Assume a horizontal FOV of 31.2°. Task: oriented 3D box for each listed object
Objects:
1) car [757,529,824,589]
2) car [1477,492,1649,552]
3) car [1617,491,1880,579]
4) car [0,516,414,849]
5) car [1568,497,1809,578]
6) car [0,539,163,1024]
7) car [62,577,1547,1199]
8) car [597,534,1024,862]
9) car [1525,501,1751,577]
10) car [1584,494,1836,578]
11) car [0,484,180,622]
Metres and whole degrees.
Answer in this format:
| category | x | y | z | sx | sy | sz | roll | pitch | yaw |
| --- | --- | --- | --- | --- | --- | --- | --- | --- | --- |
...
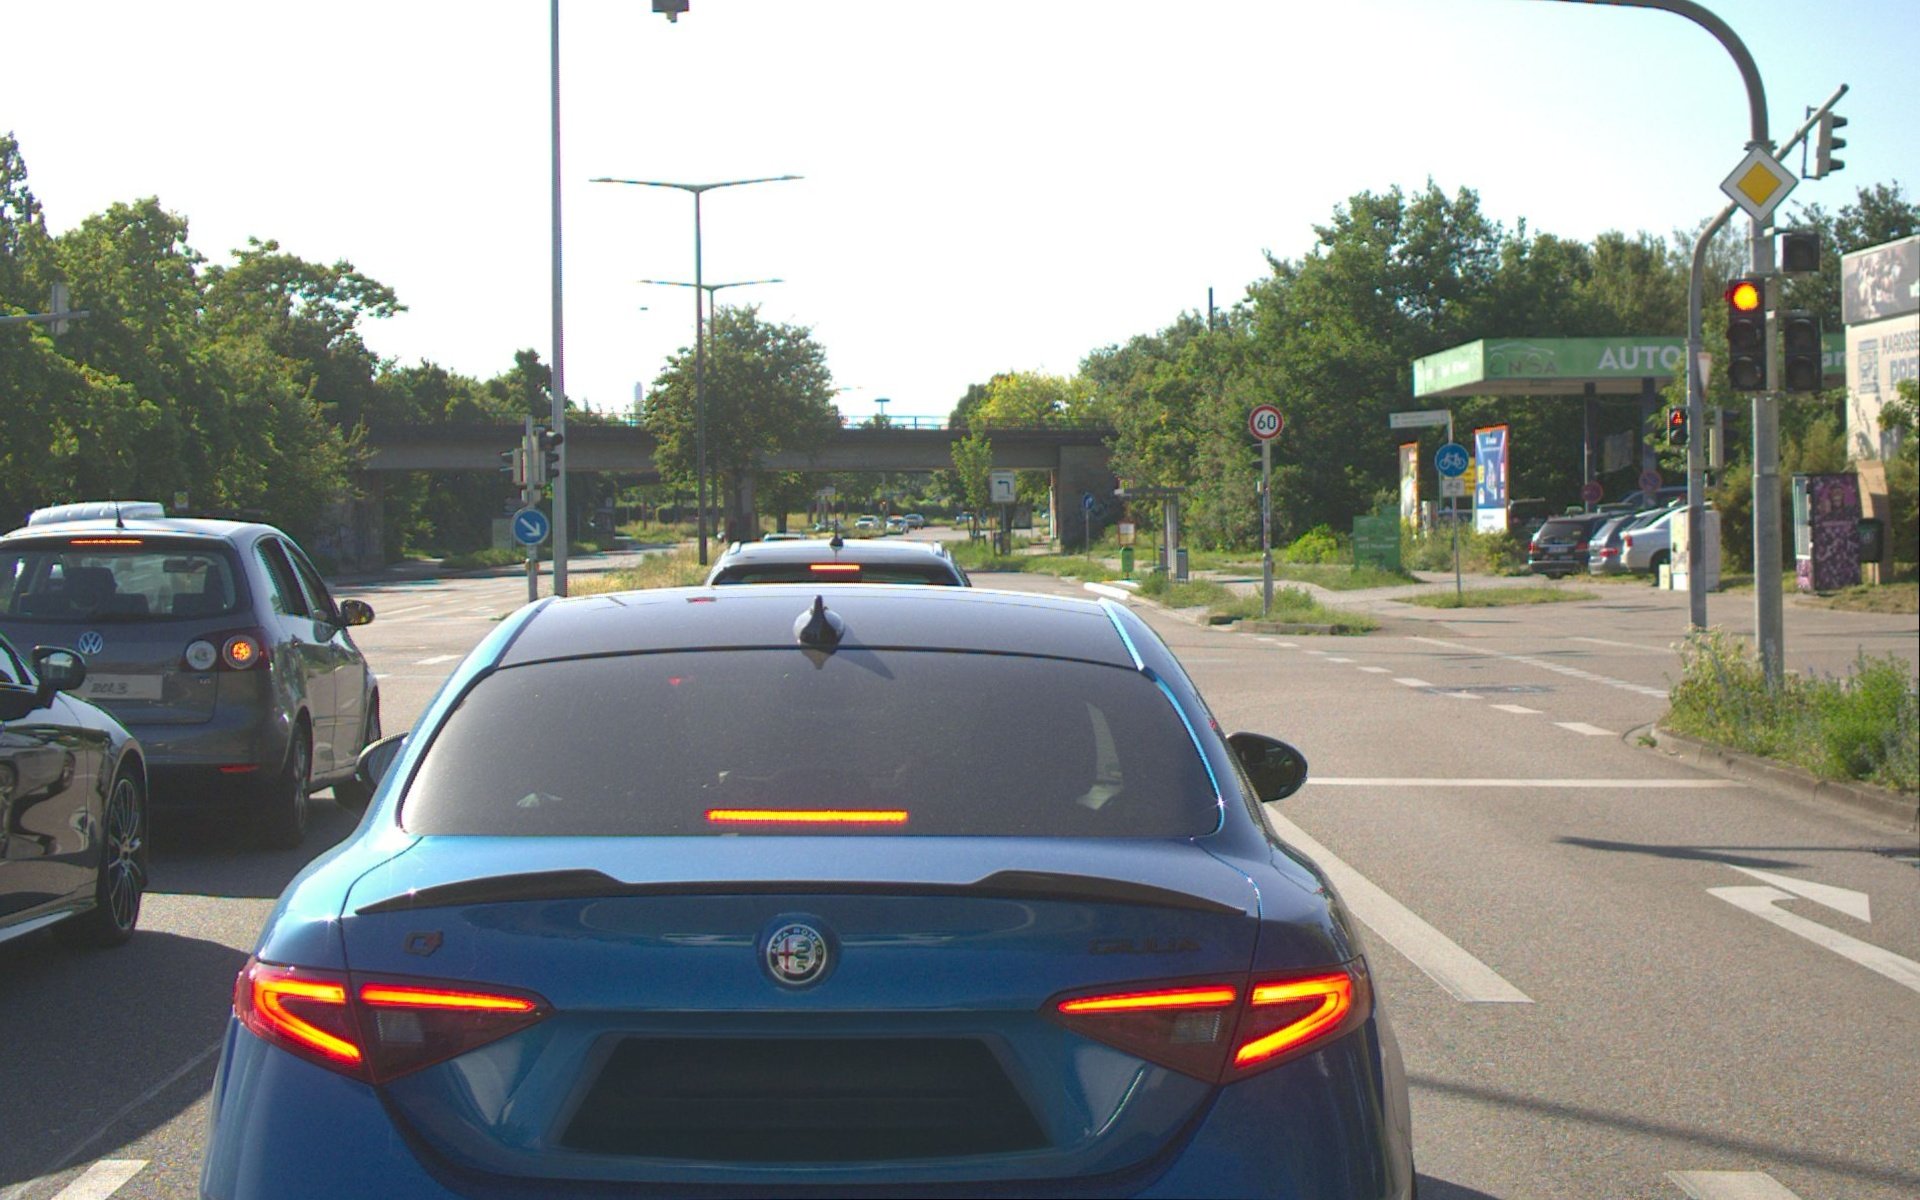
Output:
| category | x | y | z | sx | sy | sz | roll | pitch | yaw |
| --- | --- | --- | --- | --- | --- | --- | --- | --- | --- |
| car | -5.215 | -1.261 | 106.418 | 1.891 | 1.809 | 4.000 | 1 | 1 | -1 |
| car | 17.045 | -2.198 | 97.325 | 4.551 | 1.485 | 1.765 | -2 | 1 | 1 |
| car | 14.776 | -1.213 | 64.579 | 4.489 | 1.449 | 1.858 | -2 | 1 | 1 |
| car | -3.994 | 0.348 | 17.726 | 1.759 | 1.485 | 4.403 | 1 | 1 | -2 |
| car | 14.816 | -1.268 | 70.112 | 4.489 | 1.449 | 1.858 | -2 | 1 | 1 |
| car | -3.830 | 0.542 | 10.627 | 1.796 | 1.485 | 4.476 | 1 | 1 | -2 |
| car | -0.263 | 0.682 | 6.617 | 1.895 | 1.413 | 4.403 | 1 | 1 | -2 |
| car | -0.718 | 0.406 | 17.250 | 1.850 | 1.413 | 4.403 | 1 | 1 | -2 |
| car | 14.596 | -1.316 | 74.162 | 4.489 | 1.449 | 1.858 | -2 | 1 | 1 |
| car | 14.659 | -1.251 | 67.358 | 4.489 | 1.449 | 1.858 | -2 | 1 | 1 |
| car | -16.819 | -0.905 | 66.608 | 2.022 | 2.439 | 5.822 | -4 | 1 | -1 |
